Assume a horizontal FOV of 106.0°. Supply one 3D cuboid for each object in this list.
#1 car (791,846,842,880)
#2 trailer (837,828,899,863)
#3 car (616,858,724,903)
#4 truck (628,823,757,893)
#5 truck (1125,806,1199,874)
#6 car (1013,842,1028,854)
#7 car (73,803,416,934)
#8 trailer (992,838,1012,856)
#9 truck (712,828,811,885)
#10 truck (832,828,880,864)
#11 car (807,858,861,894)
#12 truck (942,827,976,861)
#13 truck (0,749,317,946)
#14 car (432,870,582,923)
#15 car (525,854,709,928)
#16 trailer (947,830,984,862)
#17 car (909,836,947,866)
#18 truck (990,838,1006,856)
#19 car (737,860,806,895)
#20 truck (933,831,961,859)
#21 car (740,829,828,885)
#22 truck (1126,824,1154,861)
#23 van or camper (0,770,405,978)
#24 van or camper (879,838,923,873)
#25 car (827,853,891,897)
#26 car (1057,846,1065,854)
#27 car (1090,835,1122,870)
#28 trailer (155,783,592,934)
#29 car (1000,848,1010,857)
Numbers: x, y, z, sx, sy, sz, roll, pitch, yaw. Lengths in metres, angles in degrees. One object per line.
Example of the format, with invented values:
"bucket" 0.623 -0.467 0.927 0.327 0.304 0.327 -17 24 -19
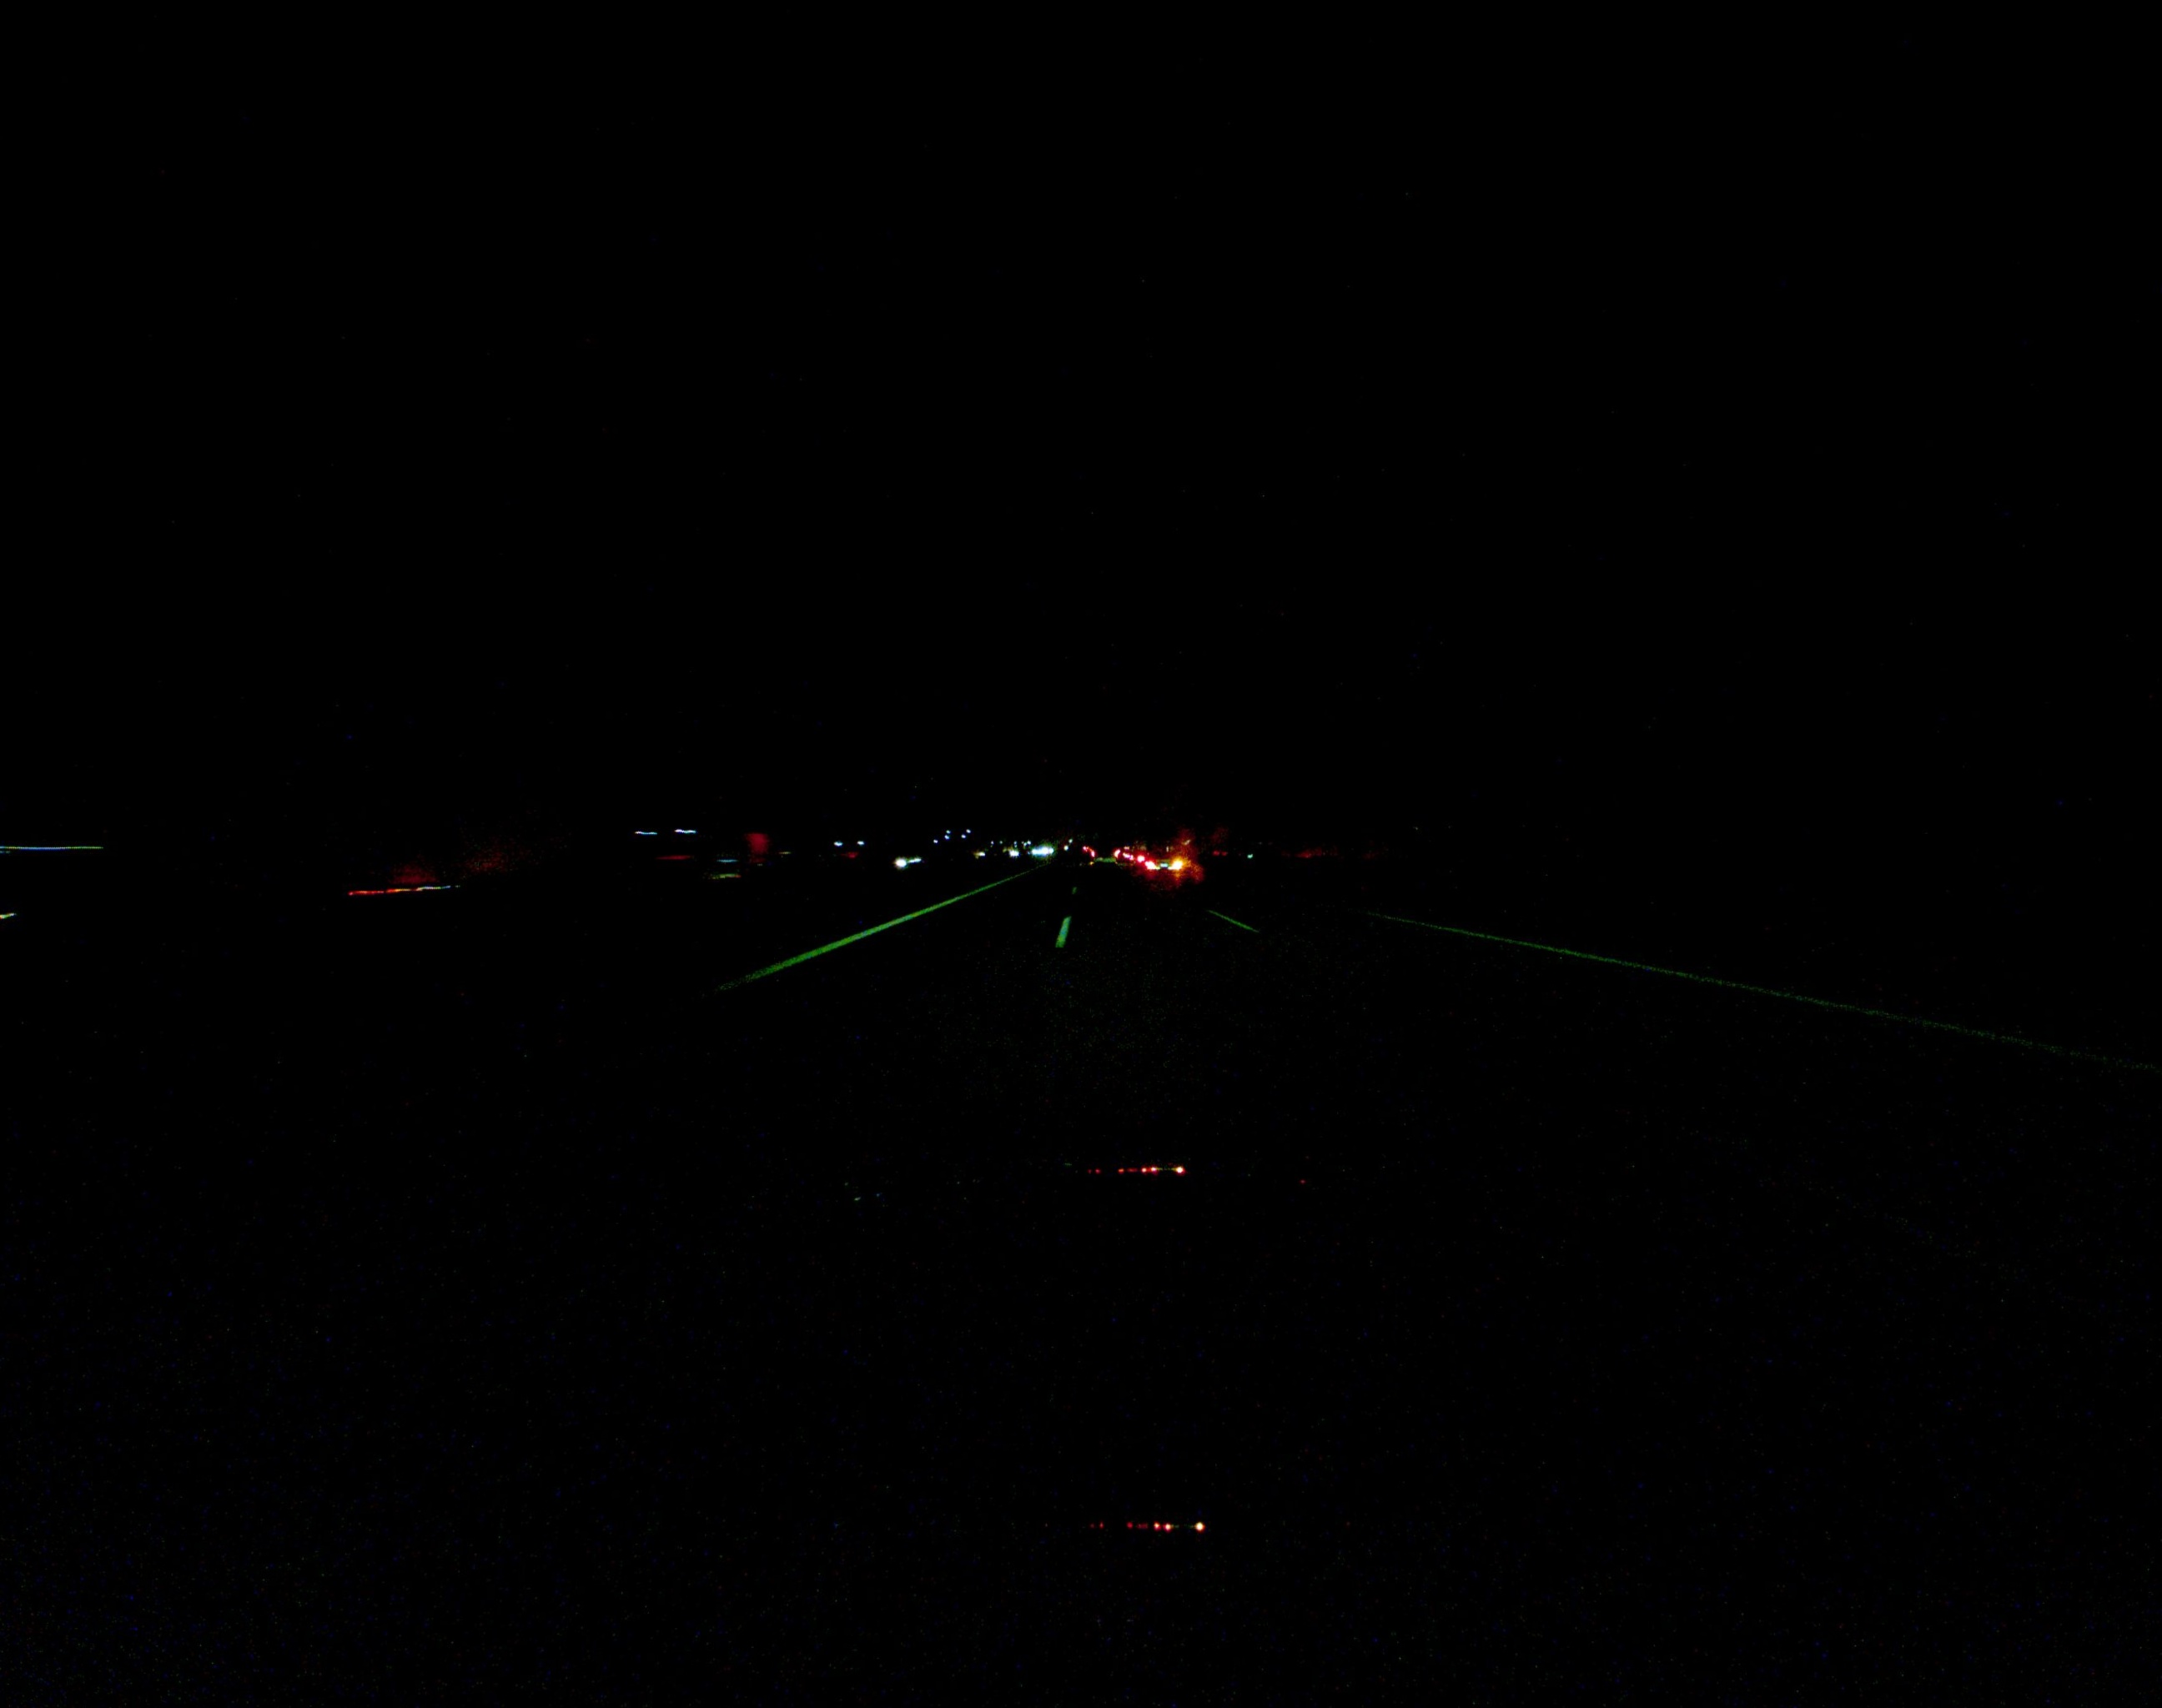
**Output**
"car" -21.996 0.677 68.035 2.307 2.718 6.355 1 1 -1
"trailer" -22.076 -0.881 85.534 2.950 3.442 13.436 0 0 0
"car" -14.022 0.854 28.042 1.565 1.354 4.001 -1 0 1
"truck" -18.389 0.222 39.173 2.547 2.986 7.452 -1 -1 0
"truck" 6.289 -0.919 68.283 3.903 4.627 21.014 -3 0 0
"car" -10.275 -0.991 138.559 1.986 2.014 5.326 1 -1 2
"car" -14.590 0.245 14.624 1.988 2.014 3.998 1 -1 -1
"trailer" -17.710 -1.497 182.731 2.876 3.849 15.067 1 -1 0
"truck" -18.468 0.176 47.659 2.753 2.986 7.402 -1 -1 0
"truck" -22.092 -0.771 80.372 2.950 3.442 6.361 0 0 0
"car" -14.616 1.292 48.410 1.988 2.014 3.998 1 -1 -1
"truck" -13.868 -1.107 93.242 2.865 3.673 6.778 1 -1 0
"truck" -21.561 -0.101 17.737 2.873 3.675 7.263 -2 0 0
"car" -17.532 1.239 25.133 1.709 1.354 4.000 -1 0 1
"car" -9.721 0.706 17.468 1.565 1.354 4.000 -1 0 1
"trailer" -13.924 -0.830 99.455 2.877 3.671 12.212 1 -1 -1
"car" -10.739 -0.183 57.437 1.988 2.014 3.998 1 -1 -1
"truck" -17.742 -1.488 174.348 2.850 3.687 6.602 1 -1 0
"car" -14.005 1.037 37.062 1.694 1.486 3.974 1 -1 -2
"truck" -17.876 -1.182 108.998 2.867 3.673 6.046 0 1 -2
"car" -11.306 0.129 31.311 1.988 2.014 3.996 1 -1 -2
"truck" 7.562 -1.463 106.746 3.331 4.475 13.919 0 1 3
"van or camper" -18.054 0.324 16.488 2.424 3.272 7.394 -1 0 1
"van or camper" -14.838 0.104 67.649 2.078 2.632 7.600 -1 0 -2
"car" -10.585 0.980 39.114 1.988 2.014 3.998 1 -1 -1
"car" -5.492 -1.021 222.112 1.990 2.013 3.994 -1 0 -4
"car" 2.018 -0.088 64.580 2.327 2.640 5.252 -1 -1 3
"trailer" -21.610 0.075 26.908 2.873 3.675 13.130 -2 0 0
"car" -16.663 -0.311 179.255 1.990 2.013 3.994 -1 0 -4
